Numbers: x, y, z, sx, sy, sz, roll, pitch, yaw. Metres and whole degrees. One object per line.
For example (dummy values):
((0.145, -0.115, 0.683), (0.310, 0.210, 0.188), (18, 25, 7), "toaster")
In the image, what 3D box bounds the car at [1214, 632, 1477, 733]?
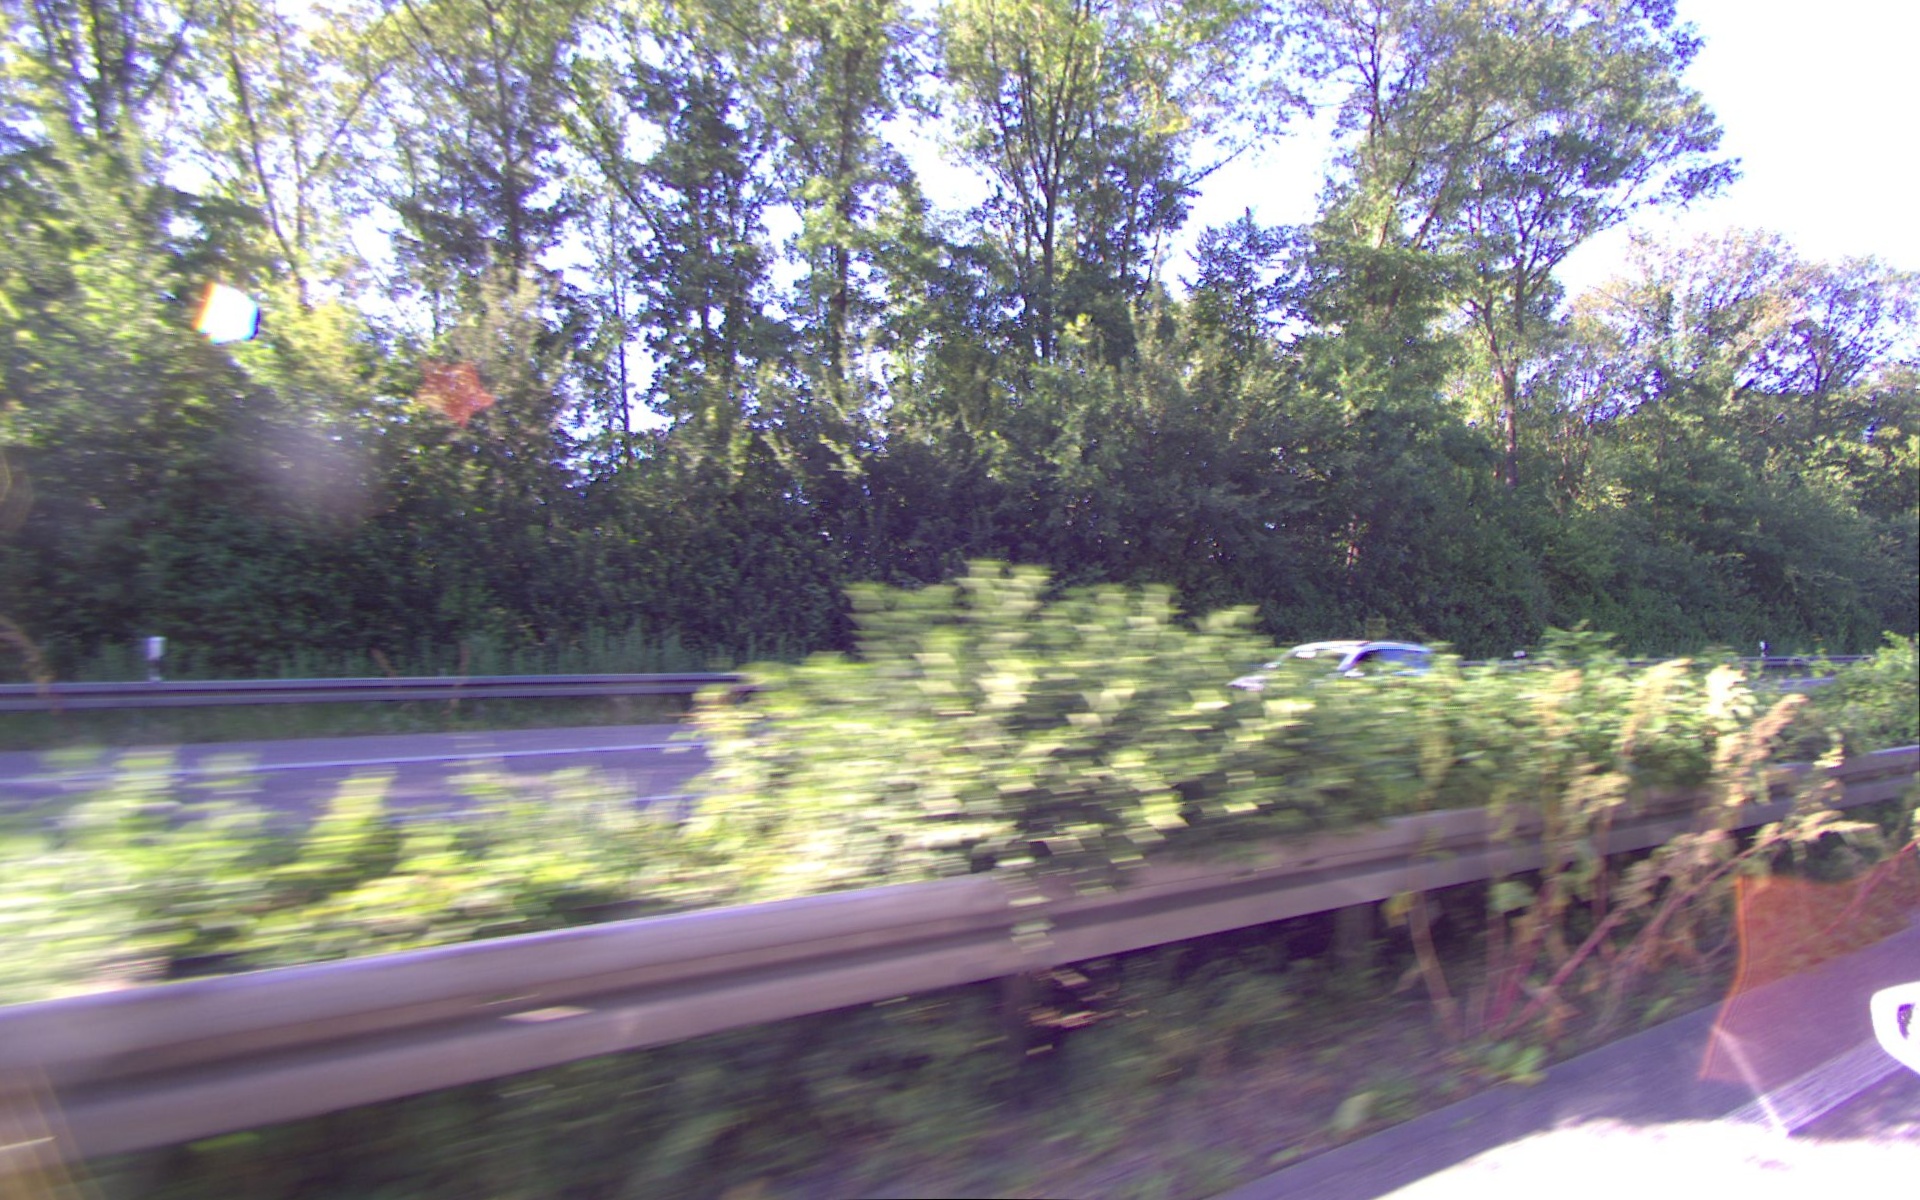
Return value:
((6.501, 1.288, 16.835), (4.291, 1.468, 1.983), (1, -1, -32), "car")
